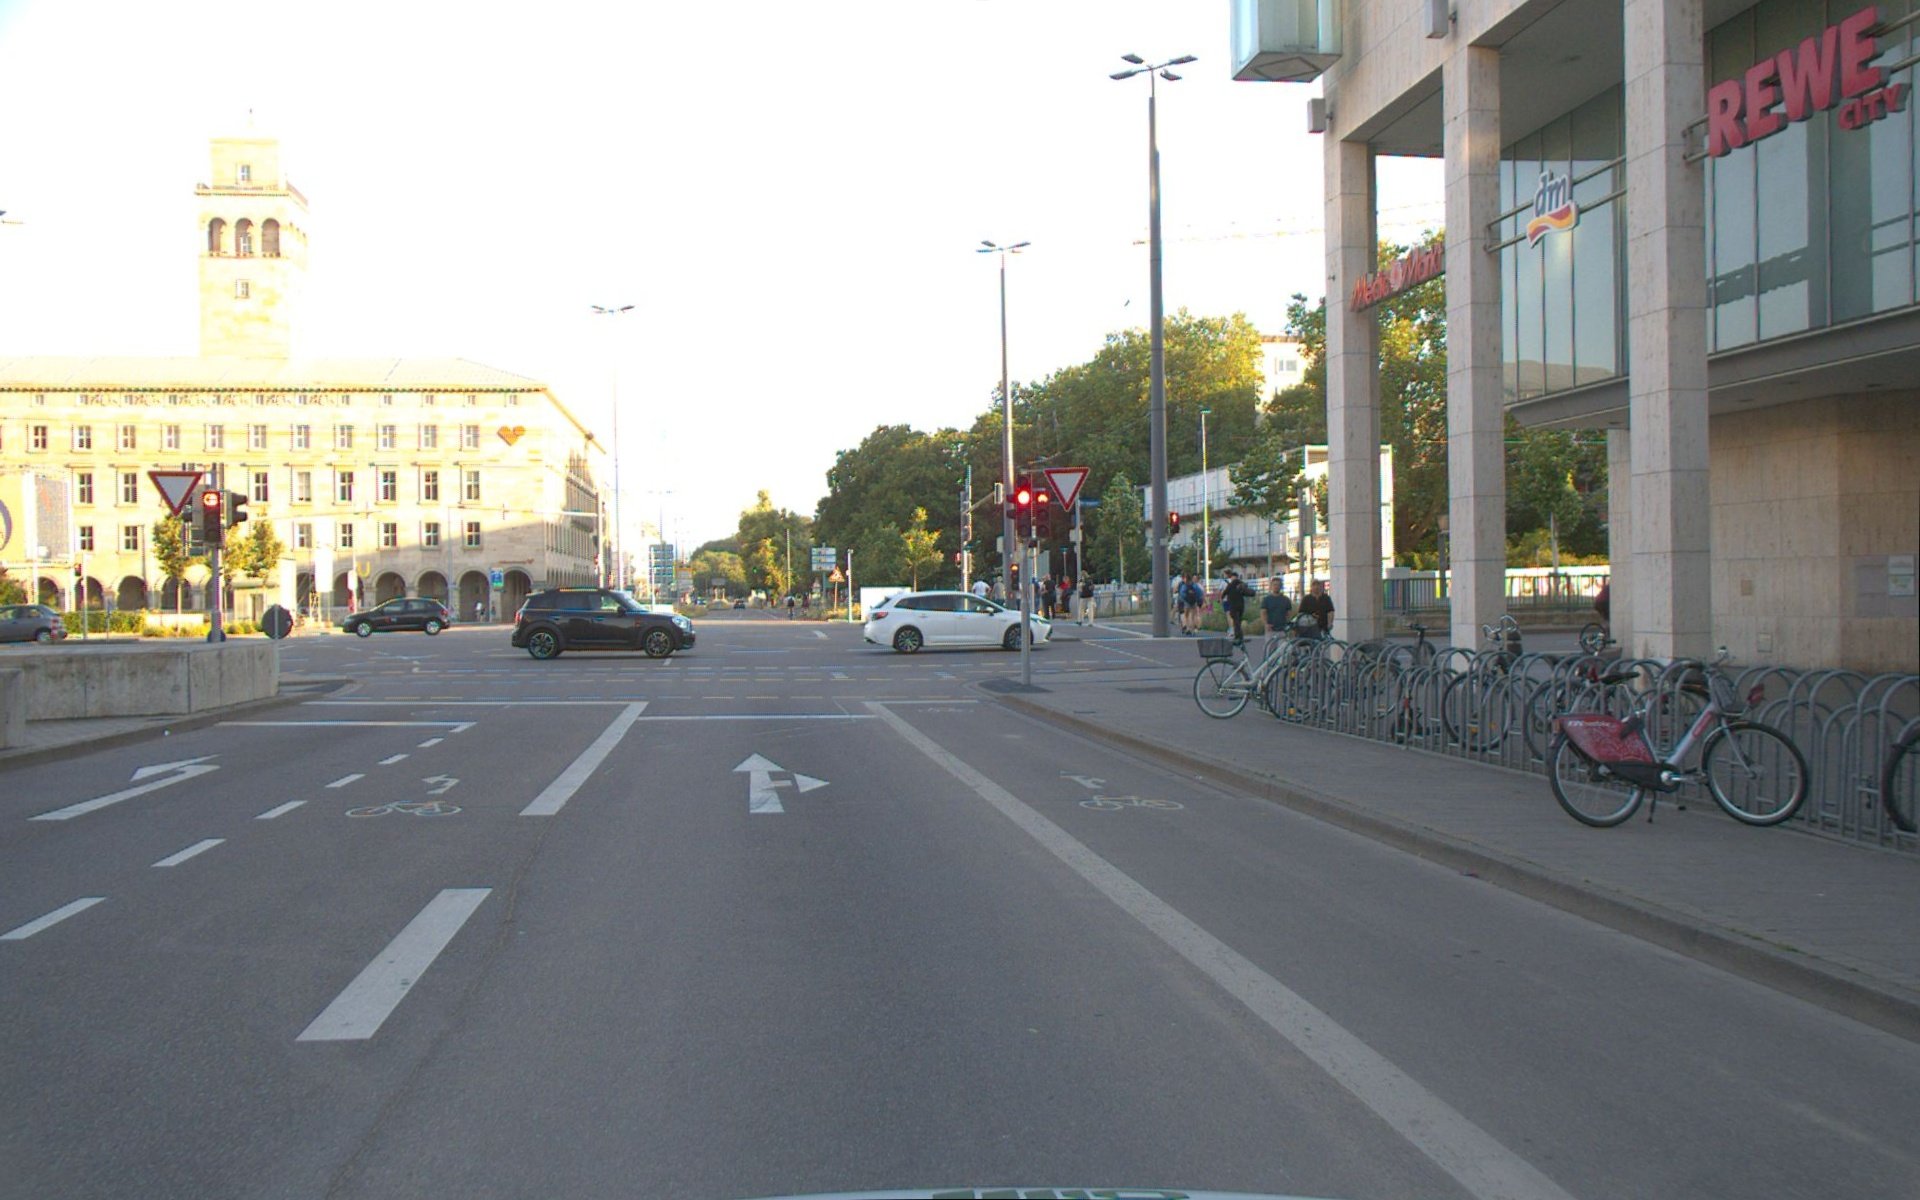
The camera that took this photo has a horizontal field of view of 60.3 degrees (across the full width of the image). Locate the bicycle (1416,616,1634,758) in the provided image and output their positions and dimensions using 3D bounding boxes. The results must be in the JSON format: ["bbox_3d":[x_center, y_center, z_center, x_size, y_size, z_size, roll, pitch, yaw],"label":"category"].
[{"bbox_3d":[5.280,0.806,15.489,1.833,1.282,0.672,1,0,-10],"label":"bicycle"}]

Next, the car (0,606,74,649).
[{"bbox_3d":[-34.458,1.014,60.113,3.652,1.478,1.540,-1,0,-15],"label":"car"}]

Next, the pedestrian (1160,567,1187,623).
[{"bbox_3d":[6.885,-0.166,53.313,0.818,1.760,0.688,-1,0,7],"label":"pedestrian"}]

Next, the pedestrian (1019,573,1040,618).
[{"bbox_3d":[2.749,-0.175,65.295,0.791,1.760,0.688,-1,0,4],"label":"pedestrian"}]

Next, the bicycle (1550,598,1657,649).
[{"bbox_3d":[14.522,0.528,37.335,2.200,1.080,0.652,-1,0,-8],"label":"bicycle"}]

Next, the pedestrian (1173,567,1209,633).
[{"bbox_3d":[6.315,-0.001,45.183,0.874,1.760,0.688,-1,0,0],"label":"pedestrian"}]

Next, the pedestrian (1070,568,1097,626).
[{"bbox_3d":[3.793,-0.110,51.002,0.678,1.760,0.740,-1,0,-6],"label":"pedestrian"}]

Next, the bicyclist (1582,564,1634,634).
[{"bbox_3d":[14.637,-0.029,37.351,0.863,1.557,0.652,-1,0,-8],"label":"bicyclist"}]

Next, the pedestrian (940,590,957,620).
[{"bbox_3d":[-0.683,0.309,97.890,0.793,1.760,0.927,-1,0,-10],"label":"pedestrian"}]

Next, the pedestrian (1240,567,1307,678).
[{"bbox_3d":[5.322,0.368,28.108,0.844,1.807,0.739,-4,1,-7],"label":"pedestrian"}]

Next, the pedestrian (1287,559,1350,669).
[{"bbox_3d":[6.114,0.234,28.230,0.742,1.807,0.739,-4,1,-7],"label":"pedestrian"}]

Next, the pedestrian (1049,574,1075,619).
[{"bbox_3d":[4.082,-0.148,65.987,0.680,1.760,0.801,-1,0,-34],"label":"pedestrian"}]

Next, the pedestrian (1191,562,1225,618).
[{"bbox_3d":[7.820,-0.315,52.166,0.821,1.760,0.686,-1,0,33],"label":"pedestrian"}]

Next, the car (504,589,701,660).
[{"bbox_3d":[-8.347,0.553,38.981,4.378,1.522,2.124,-1,1,-9],"label":"car"}]

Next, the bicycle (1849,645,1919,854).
[{"bbox_3d":[6.096,0.847,9.370,1.779,1.119,0.600,1,0,-1],"label":"bicycle"}]

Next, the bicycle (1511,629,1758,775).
[{"bbox_3d":[5.588,0.830,13.739,1.835,1.133,0.570,-1,0,-5],"label":"bicycle"}]

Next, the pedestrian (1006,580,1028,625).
[{"bbox_3d":[2.275,0.088,65.919,0.791,1.760,0.688,-1,0,4],"label":"pedestrian"}]

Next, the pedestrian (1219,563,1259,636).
[{"bbox_3d":[7.170,-0.016,42.487,0.874,1.863,0.688,-1,0,0],"label":"pedestrian"}]

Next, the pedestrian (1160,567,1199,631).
[{"bbox_3d":[6.179,-0.022,46.506,0.678,1.760,0.887,-1,0,-30],"label":"pedestrian"}]

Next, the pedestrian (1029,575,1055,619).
[{"bbox_3d":[3.310,-0.105,66.810,0.682,1.760,0.799,-1,0,-41],"label":"pedestrian"}]

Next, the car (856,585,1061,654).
[{"bbox_3d":[-0.085,0.440,40.254,4.708,1.522,2.124,-1,1,-9],"label":"car"}]

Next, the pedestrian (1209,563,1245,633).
[{"bbox_3d":[7.243,-0.057,44.909,0.874,1.872,0.688,-1,0,3],"label":"pedestrian"}]

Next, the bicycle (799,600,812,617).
[{"bbox_3d":[-9.392,0.528,100.638,0.640,0.987,1.480,-1,0,-12],"label":"bicycle"}]

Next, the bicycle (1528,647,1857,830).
[{"bbox_3d":[4.651,0.862,10.554,1.860,1.066,0.570,-1,0,-4],"label":"bicycle"}]

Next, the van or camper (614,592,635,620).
[{"bbox_3d":[-34.269,0.601,168.919,1.849,2.808,4.921,-1,1,-10],"label":"van or camper"}]

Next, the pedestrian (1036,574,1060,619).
[{"bbox_3d":[3.467,-0.148,65.328,0.793,1.760,0.686,-1,0,-9],"label":"pedestrian"}]

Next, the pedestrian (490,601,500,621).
[{"bbox_3d":[-38.485,0.898,136.861,0.621,1.595,0.774,-1,0,-7],"label":"pedestrian"}]

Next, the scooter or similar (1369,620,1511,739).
[{"bbox_3d":[4.993,0.812,17.233,1.252,1.180,0.672,-1,0,-10],"label":"scooter or similar"}]

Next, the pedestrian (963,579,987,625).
[{"bbox_3d":[0.595,0.070,64.728,0.793,1.760,0.686,-1,0,-10],"label":"pedestrian"}]

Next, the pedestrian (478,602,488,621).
[{"bbox_3d":[-39.334,0.937,136.446,0.621,1.595,0.774,-1,0,-7],"label":"pedestrian"}]

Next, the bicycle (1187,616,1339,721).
[{"bbox_3d":[3.704,0.835,20.317,1.779,1.233,0.571,-1,0,7],"label":"bicycle"}]

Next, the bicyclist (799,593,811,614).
[{"bbox_3d":[-9.414,0.219,100.614,0.640,1.245,0.859,-1,0,-12],"label":"bicyclist"}]

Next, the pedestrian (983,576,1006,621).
[{"bbox_3d":[1.355,-0.069,64.948,0.793,1.760,0.686,-1,0,-10],"label":"pedestrian"}]

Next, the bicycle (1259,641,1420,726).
[{"bbox_3d":[4.600,1.000,20.060,1.833,0.952,0.515,-1,0,-10],"label":"bicycle"}]

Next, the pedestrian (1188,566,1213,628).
[{"bbox_3d":[6.916,-0.084,47.506,0.671,1.760,0.896,-1,0,10],"label":"pedestrian"}]

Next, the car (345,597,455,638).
[{"bbox_3d":[-21.796,0.666,64.354,3.923,1.478,1.534,-1,1,-24],"label":"car"}]

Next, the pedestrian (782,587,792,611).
[{"bbox_3d":[-10.241,-0.047,97.853,0.513,1.398,0.686,-1,0,-12],"label":"pedestrian"}]
